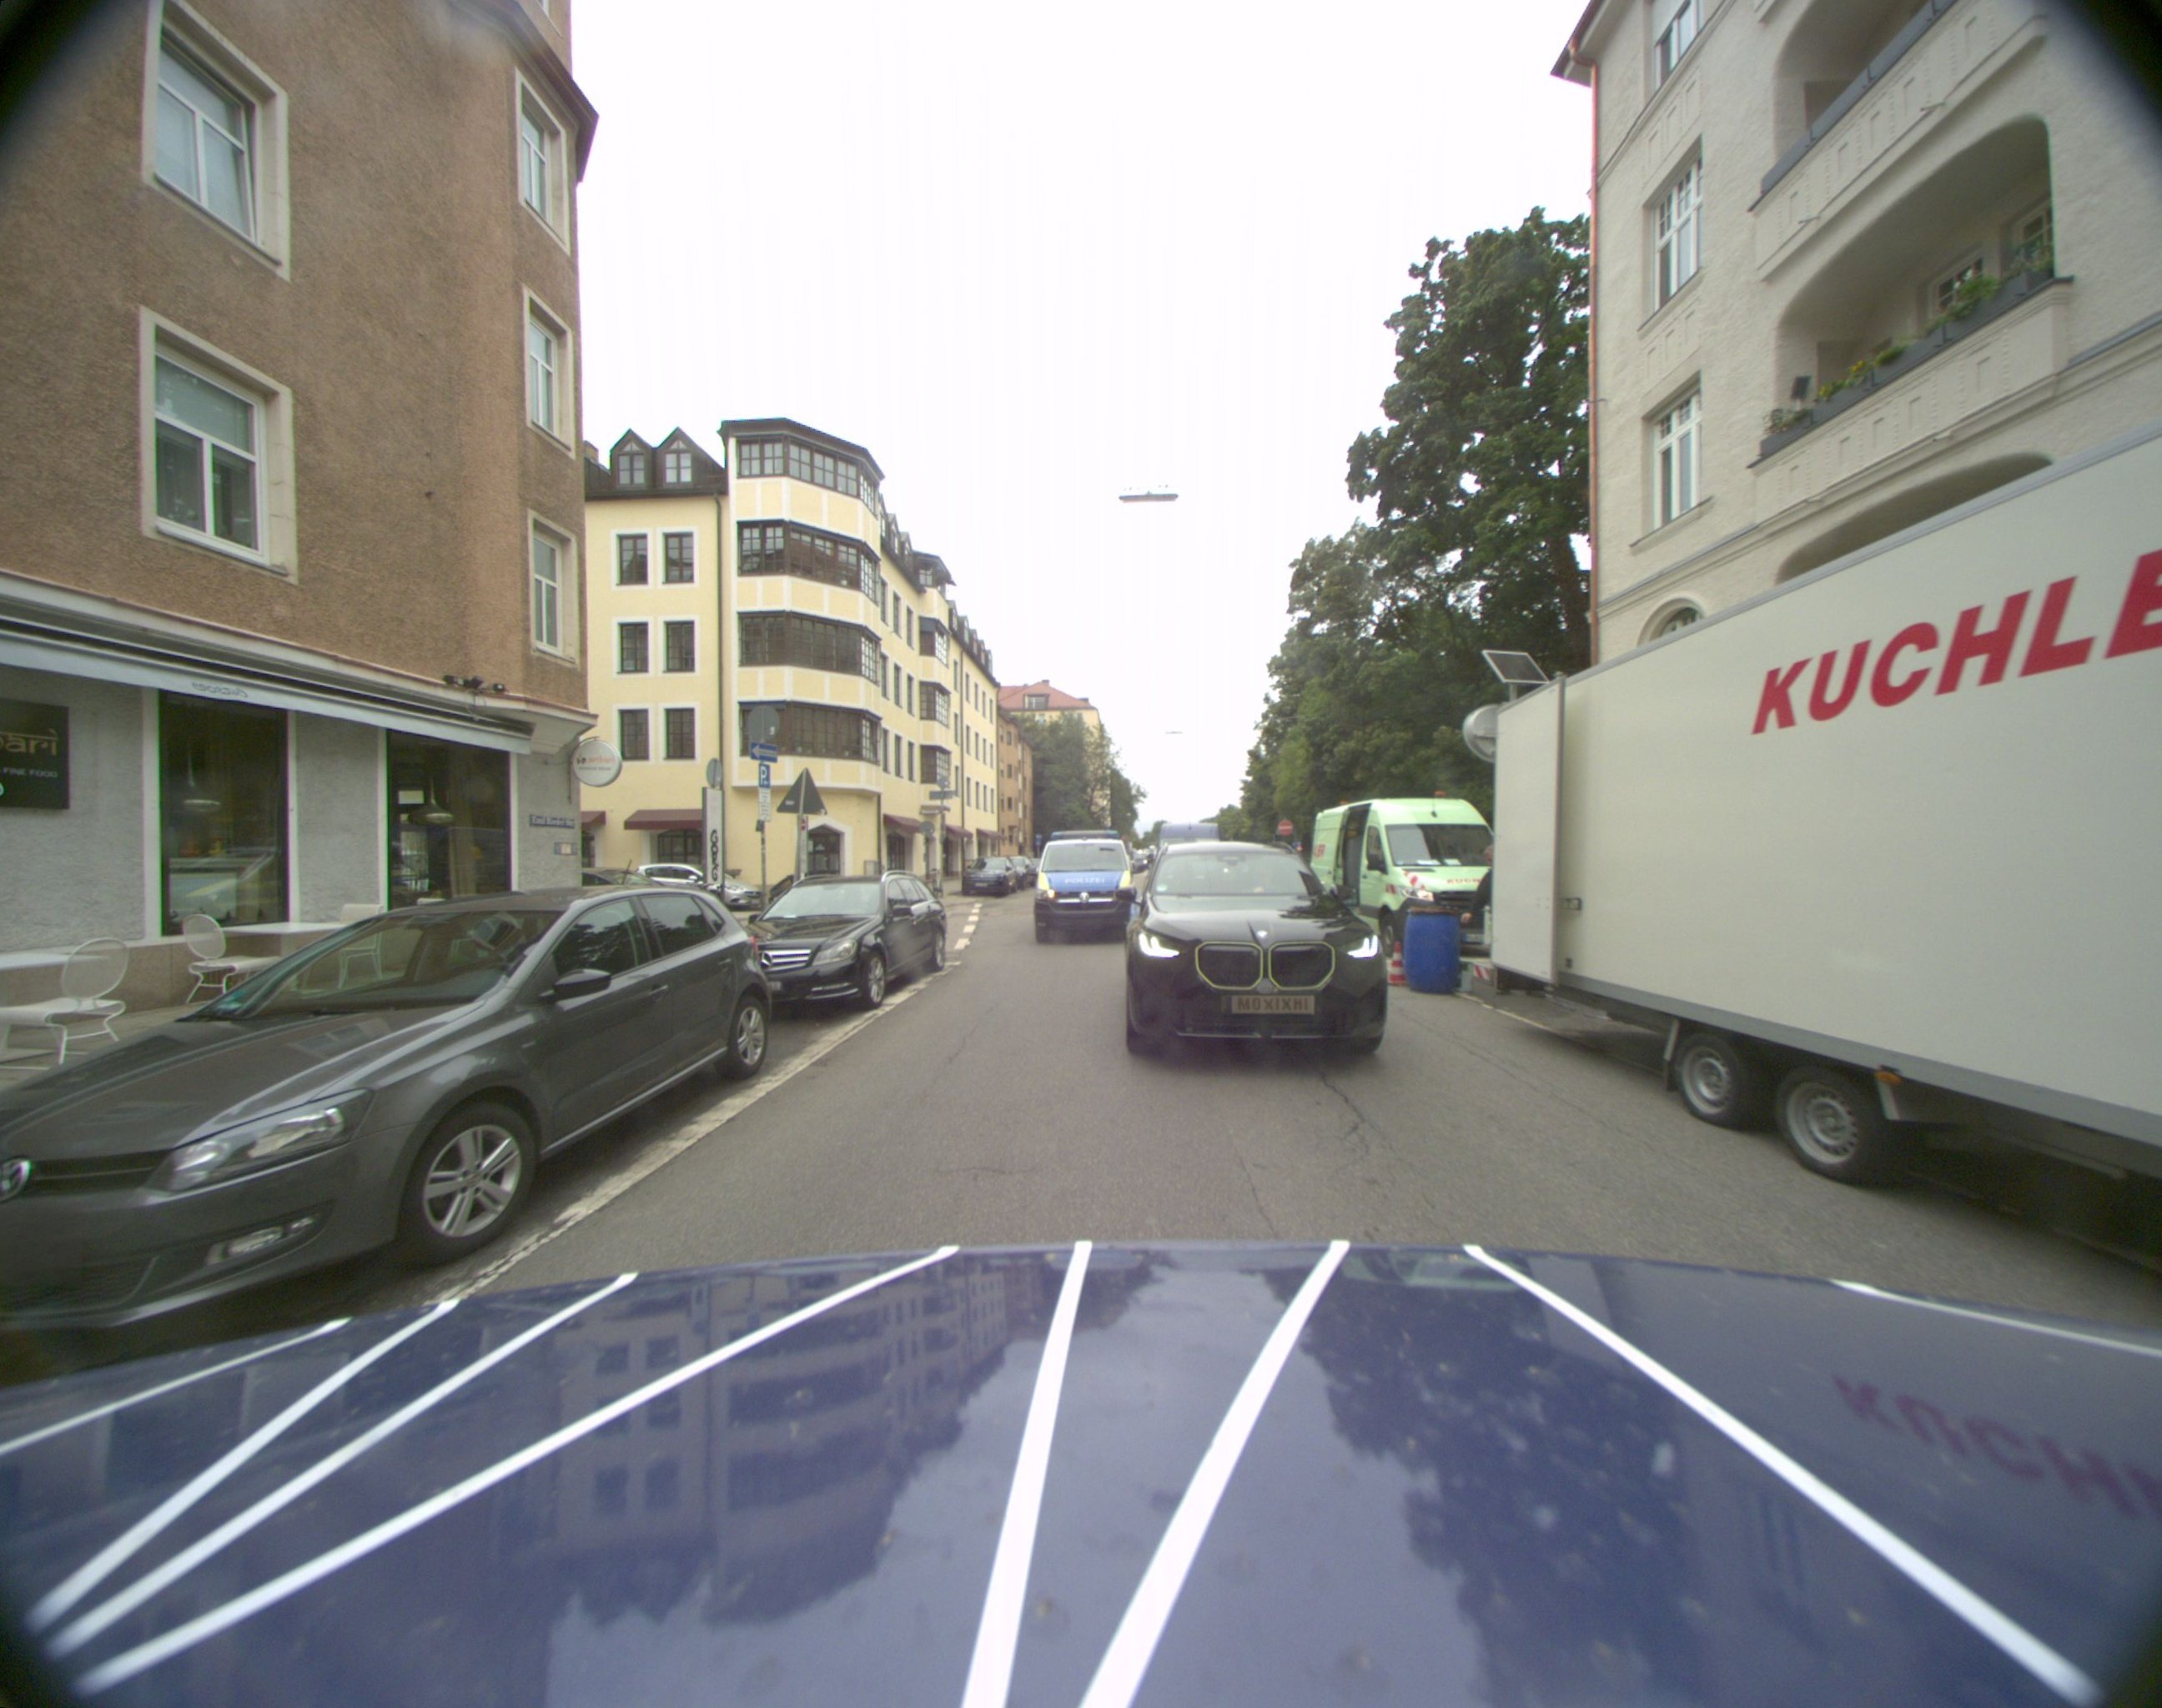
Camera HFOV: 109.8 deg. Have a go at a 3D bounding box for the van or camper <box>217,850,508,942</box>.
[{"bbox_3d":[-16.353,0.920,17.457,4.910,1.908,1.961,-1,3,4],"label":"van or camper"}]

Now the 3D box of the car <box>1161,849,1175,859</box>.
[{"bbox_3d":[12.939,0.008,113.162,1.836,1.390,4.002,0,1,9],"label":"car"}]

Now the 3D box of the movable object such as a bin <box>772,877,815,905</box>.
[{"bbox_3d":[-9.514,1.226,25.165,1.125,0.895,0.684,0,1,4],"label":"movable object such as a bin"}]

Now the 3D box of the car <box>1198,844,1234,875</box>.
[{"bbox_3d":[7.698,0.288,43.159,1.816,1.580,4.167,4,1,11],"label":"car"}]

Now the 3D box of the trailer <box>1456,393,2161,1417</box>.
[{"bbox_3d":[4.598,0.177,3.084,2.809,2.951,7.602,2,0,5],"label":"trailer"}]

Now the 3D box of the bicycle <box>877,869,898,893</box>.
[{"bbox_3d":[-7.945,1.104,31.275,0.262,0.897,1.696,4,1,5],"label":"bicycle"}]

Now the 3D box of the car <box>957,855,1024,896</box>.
[{"bbox_3d":[-3.819,0.880,33.010,2.111,1.613,4.497,-1,1,3],"label":"car"}]

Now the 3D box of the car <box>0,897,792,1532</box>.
[{"bbox_3d":[-3.198,1.078,4.093,1.576,1.386,4.182,-1,1,1],"label":"car"}]

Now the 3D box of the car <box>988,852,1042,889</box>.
[{"bbox_3d":[-3.239,0.795,38.227,1.817,1.580,4.165,4,1,6],"label":"car"}]

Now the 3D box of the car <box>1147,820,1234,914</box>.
[{"bbox_3d":[3.511,0.284,23.247,2.003,2.477,6.238,-1,1,14],"label":"car"}]

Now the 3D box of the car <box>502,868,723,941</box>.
[{"bbox_3d":[-10.587,1.120,17.367,3.881,1.479,1.892,-1,1,3],"label":"car"}]

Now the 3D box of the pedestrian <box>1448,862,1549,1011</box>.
[{"bbox_3d":[4.651,0.886,8.495,0.764,1.571,0.636,-1,1,-15],"label":"pedestrian"}]

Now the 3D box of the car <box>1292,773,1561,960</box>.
[{"bbox_3d":[5.744,0.173,13.983,2.146,2.557,6.795,-1,0,3],"label":"car"}]

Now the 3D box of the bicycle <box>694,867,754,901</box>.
[{"bbox_3d":[-12.665,1.047,26.979,1.904,1.180,0.515,0,1,3],"label":"bicycle"}]

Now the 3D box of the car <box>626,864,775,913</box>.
[{"bbox_3d":[-11.721,1.063,23.535,3.741,1.431,1.753,0,-2,7],"label":"car"}]

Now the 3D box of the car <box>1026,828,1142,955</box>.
[{"bbox_3d":[0.263,0.626,15.649,1.826,2.086,5.635,-2,0,5],"label":"car"}]

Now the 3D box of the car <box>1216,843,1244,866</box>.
[{"bbox_3d":[10.533,-0.012,53.609,1.816,1.455,4.167,4,1,12],"label":"car"}]

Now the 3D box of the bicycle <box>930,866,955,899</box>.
[{"bbox_3d":[-5.281,1.059,29.024,0.430,1.152,2.053,0,1,4],"label":"bicycle"}]

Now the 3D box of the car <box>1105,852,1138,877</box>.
[{"bbox_3d":[2.709,0.657,50.359,1.997,1.587,4.001,0,1,6],"label":"car"}]

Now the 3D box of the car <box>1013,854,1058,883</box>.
[{"bbox_3d":[-2.537,0.801,43.309,1.763,1.514,3.934,1,1,8],"label":"car"}]

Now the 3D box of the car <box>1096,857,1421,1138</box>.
[{"bbox_3d":[1.440,0.860,6.739,1.919,1.557,4.297,0,1,11],"label":"car"}]

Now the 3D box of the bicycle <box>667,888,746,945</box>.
[{"bbox_3d":[-7.327,1.192,14.960,0.496,0.999,1.804,1,-1,5],"label":"bicycle"}]

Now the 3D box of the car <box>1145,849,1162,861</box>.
[{"bbox_3d":[8.917,0.137,92.699,1.836,1.390,4.002,0,1,9],"label":"car"}]

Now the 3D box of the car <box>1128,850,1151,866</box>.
[{"bbox_3d":[5.352,0.352,69.146,1.836,1.390,4.002,0,1,9],"label":"car"}]

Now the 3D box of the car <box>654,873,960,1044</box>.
[{"bbox_3d":[-2.927,1.036,9.440,1.851,1.397,4.788,-1,0,3],"label":"car"}]

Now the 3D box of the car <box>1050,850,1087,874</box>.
[{"bbox_3d":[-0.867,0.580,56.098,1.882,1.642,5.619,1,1,7],"label":"car"}]
